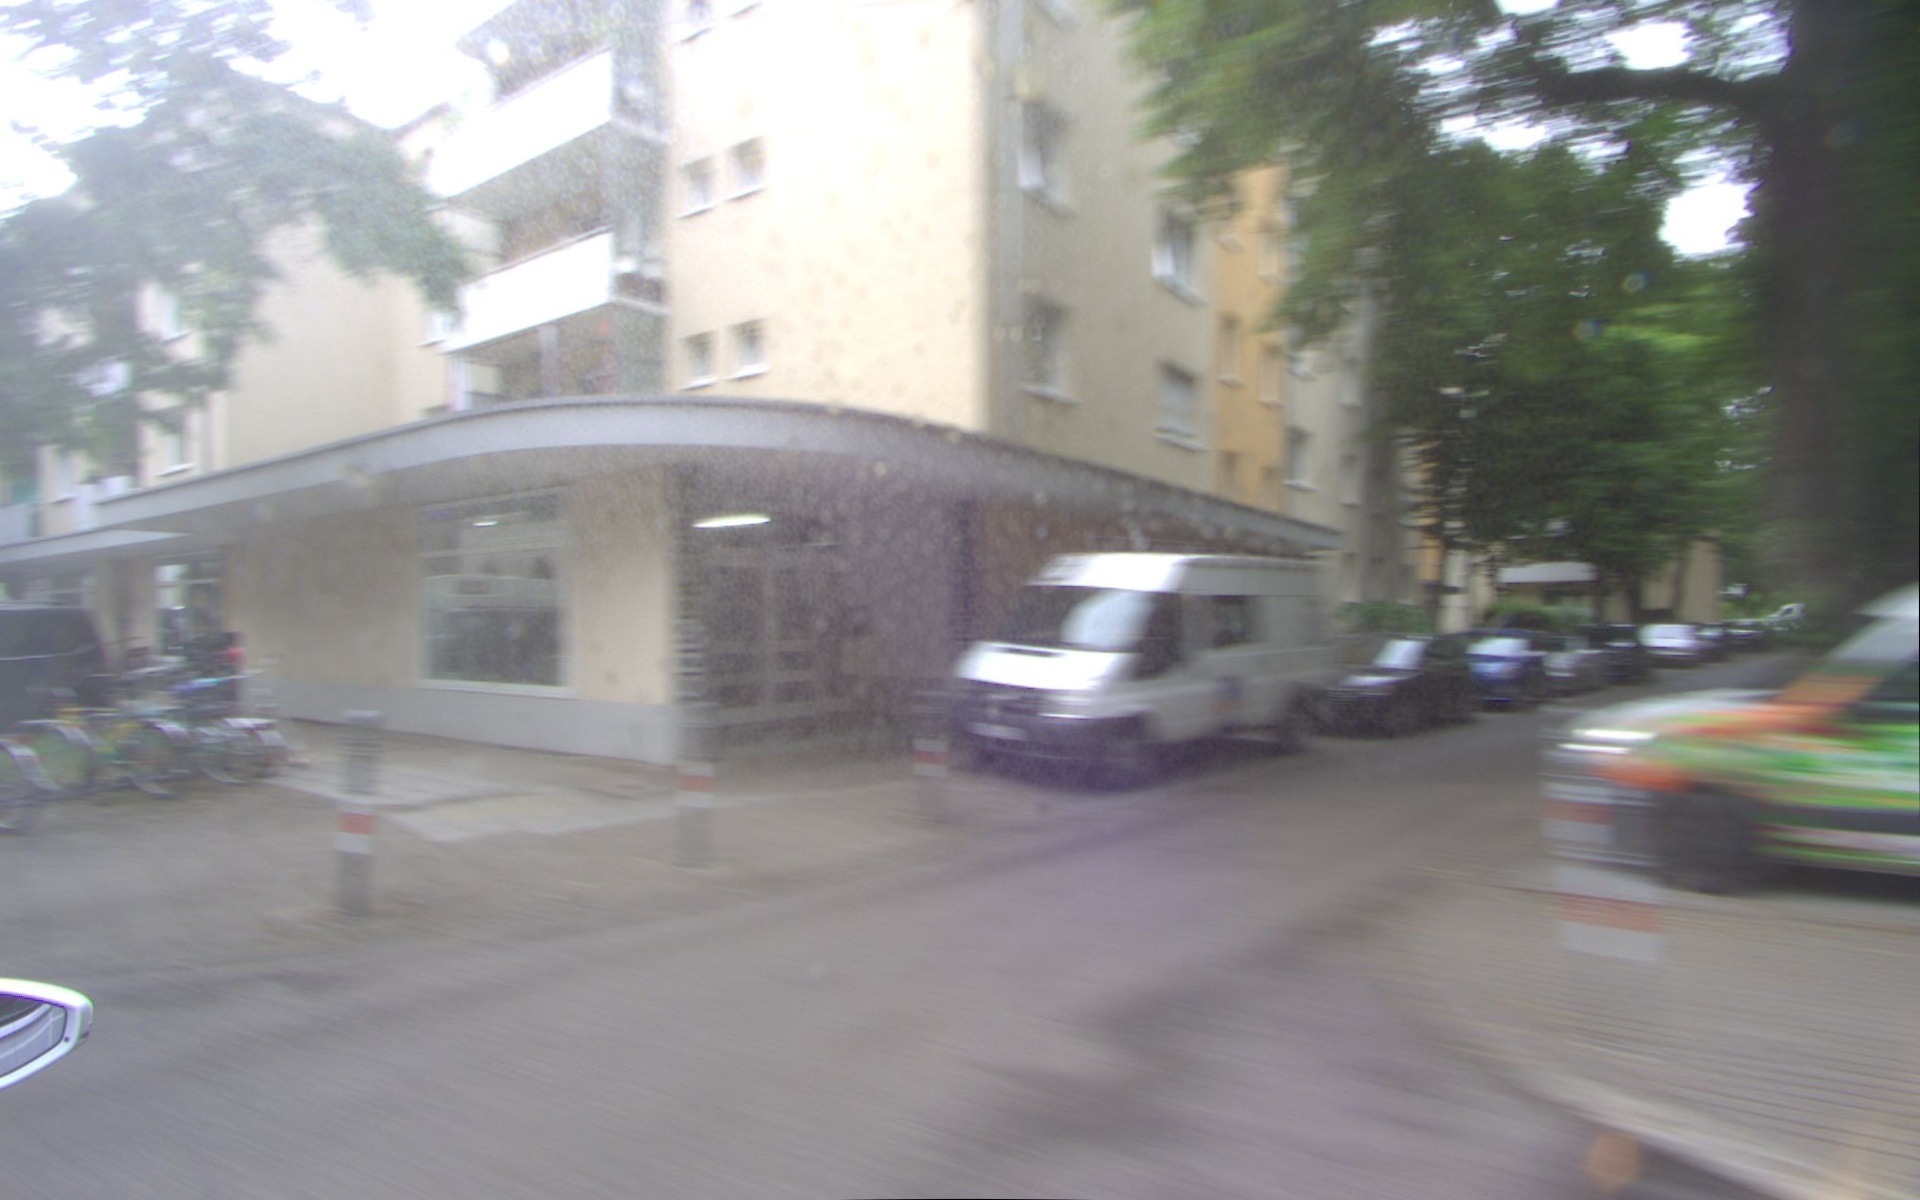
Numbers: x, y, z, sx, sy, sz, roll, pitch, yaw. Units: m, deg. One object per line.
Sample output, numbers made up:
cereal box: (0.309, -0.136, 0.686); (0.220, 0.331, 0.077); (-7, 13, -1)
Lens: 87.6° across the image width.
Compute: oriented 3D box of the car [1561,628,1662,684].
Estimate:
car: (17.344, 1.479, 26.619); (3.487, 1.385, 1.495); (2, -3, -44)

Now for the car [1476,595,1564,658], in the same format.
car: (19.319, 0.886, 34.466); (1.976, 2.040, 3.969); (-1, -1, 40)

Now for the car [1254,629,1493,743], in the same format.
car: (6.484, 1.210, 15.509); (4.139, 1.447, 1.889); (0, -1, -43)

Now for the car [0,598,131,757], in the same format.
car: (-12.362, 0.911, 11.384); (1.875, 1.878, 4.344); (0, -1, 10)

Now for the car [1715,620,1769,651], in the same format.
car: (36.514, 1.686, 46.755); (3.487, 1.385, 1.495); (2, -3, -44)

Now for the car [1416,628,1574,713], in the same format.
car: (10.417, 1.288, 19.415); (3.670, 1.447, 1.616); (0, -1, -43)

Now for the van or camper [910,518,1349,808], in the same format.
van or camper: (2.240, 0.526, 11.536); (2.112, 2.529, 5.739); (4, 2, 43)

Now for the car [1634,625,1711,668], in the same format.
car: (24.027, 1.560, 33.727); (3.487, 1.385, 1.495); (2, -3, -44)

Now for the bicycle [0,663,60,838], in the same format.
bicycle: (-7.461, 1.058, 7.245); (1.696, 1.189, 0.549); (0, 0, 14)

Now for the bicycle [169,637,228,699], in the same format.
bicycle: (-14.497, 1.276, 19.049); (1.679, 1.104, 0.483); (-1, 0, 38)

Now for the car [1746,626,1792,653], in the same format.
car: (44.122, 2.160, 54.575); (3.487, 1.385, 1.495); (2, -3, -44)

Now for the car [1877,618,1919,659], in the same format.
car: (34.846, 1.357, 34.929); (1.706, 1.408, 3.998); (0, -1, -10)

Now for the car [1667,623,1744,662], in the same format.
car: (27.776, 1.545, 37.273); (3.490, 1.359, 1.645); (0, -1, -41)

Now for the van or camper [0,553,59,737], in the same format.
van or camper: (-14.731, 0.623, 12.944); (1.874, 2.630, 4.597); (0, -1, 3)

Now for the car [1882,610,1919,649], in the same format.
car: (38.884, 1.167, 39.130); (1.706, 1.551, 3.998); (0, -1, -10)

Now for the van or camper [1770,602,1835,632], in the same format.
van or camper: (88.319, 1.796, 104.993); (4.971, 3.074, 1.989); (-1, -1, 33)

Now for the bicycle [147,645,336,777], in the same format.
bicycle: (-6.995, 1.054, 9.760); (1.666, 1.189, 0.549); (0, 0, 14)

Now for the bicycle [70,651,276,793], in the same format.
bicycle: (-7.155, 1.079, 9.111); (1.696, 1.189, 0.549); (0, 0, 14)

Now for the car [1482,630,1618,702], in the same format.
car: (13.504, 1.434, 22.841); (1.758, 1.437, 3.962); (-1, -1, 45)

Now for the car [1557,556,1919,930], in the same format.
car: (5.594, 0.709, 5.366); (3.950, 1.843, 1.763); (-1, -1, 38)

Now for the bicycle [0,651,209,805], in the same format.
bicycle: (-7.300, 1.049, 8.481); (1.696, 1.189, 0.549); (0, 0, 14)
